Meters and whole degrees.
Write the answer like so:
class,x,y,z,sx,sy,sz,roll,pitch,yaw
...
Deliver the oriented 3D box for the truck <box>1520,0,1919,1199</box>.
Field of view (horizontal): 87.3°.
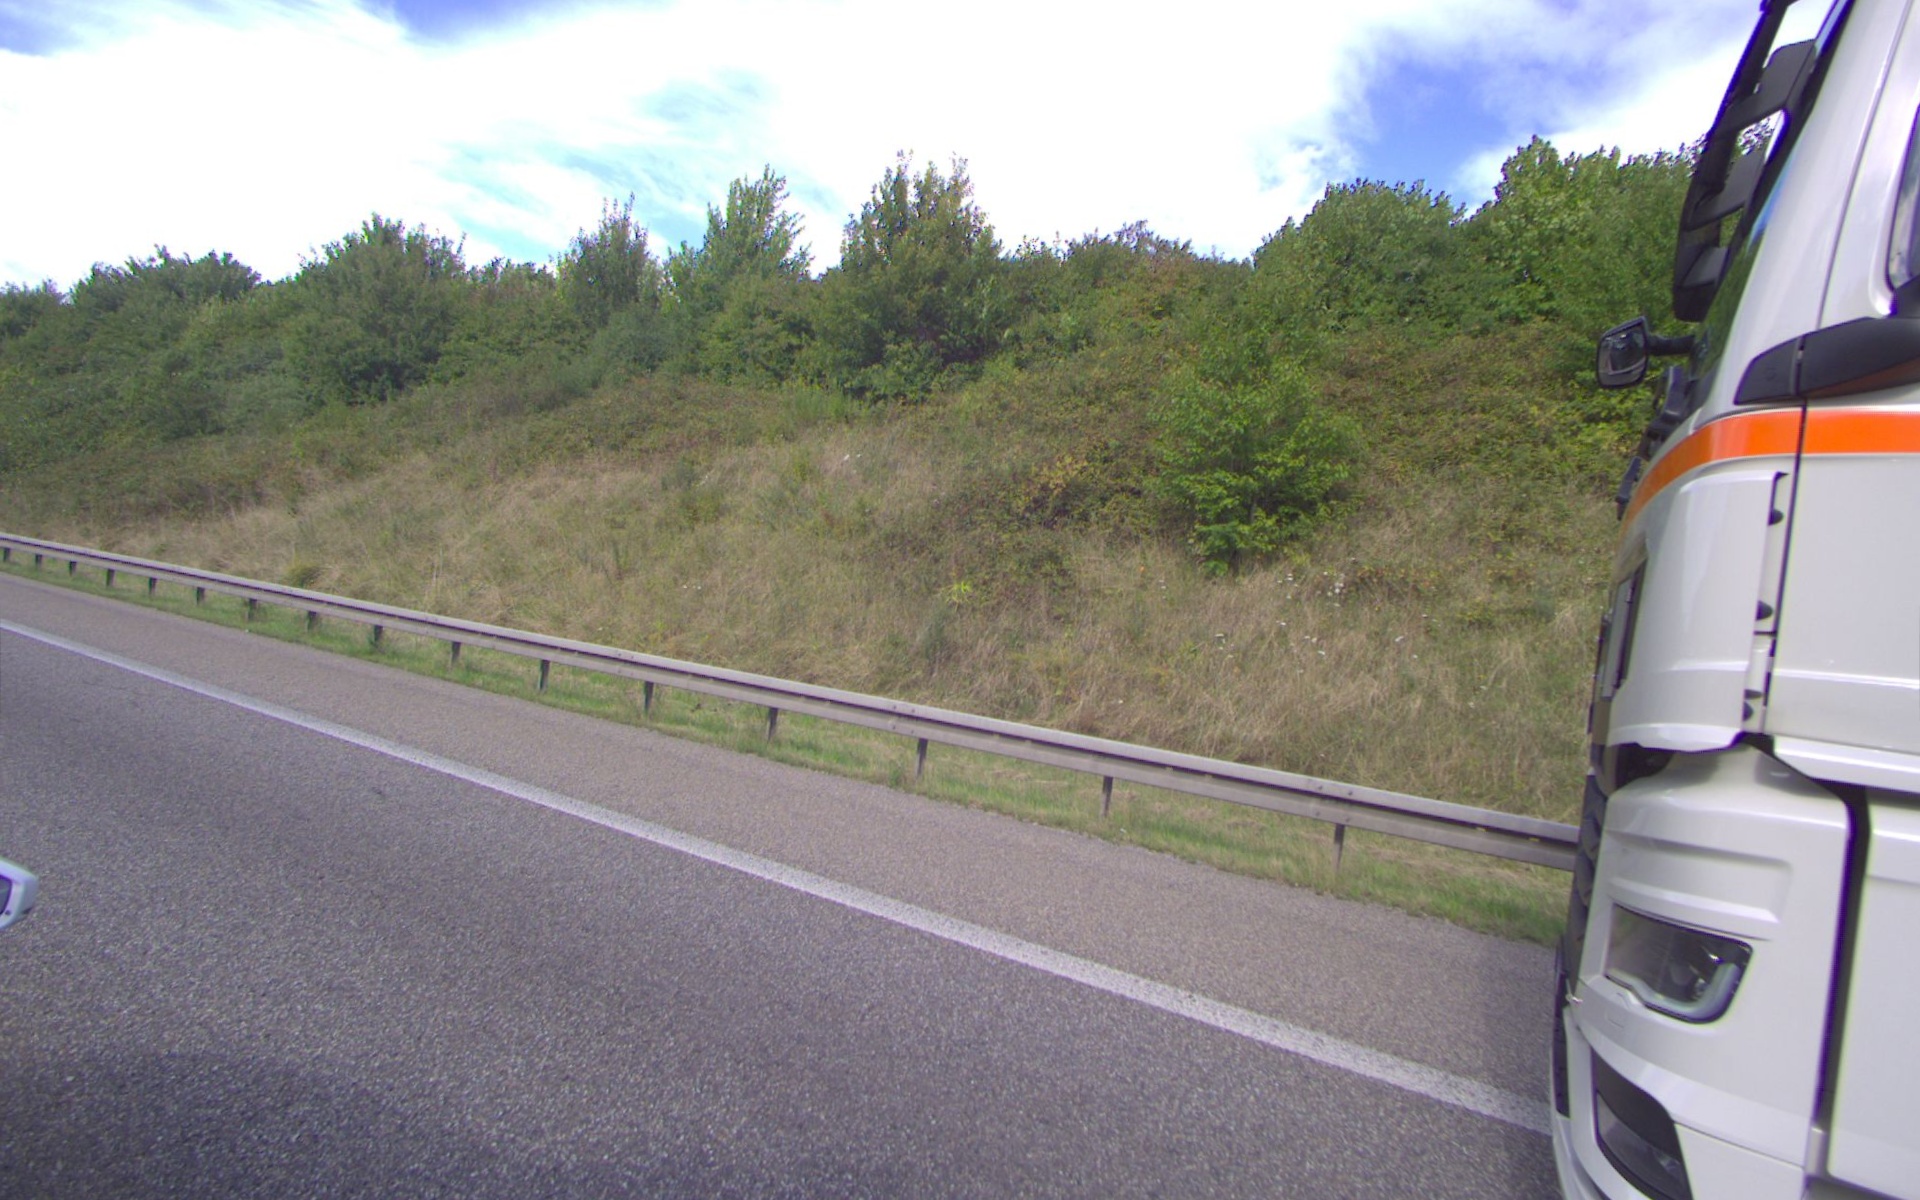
class,x,y,z,sx,sy,sz,roll,pitch,yaw
truck,4.350,-0.007,1.432,5.807,4.091,2.807,7,-1,33
